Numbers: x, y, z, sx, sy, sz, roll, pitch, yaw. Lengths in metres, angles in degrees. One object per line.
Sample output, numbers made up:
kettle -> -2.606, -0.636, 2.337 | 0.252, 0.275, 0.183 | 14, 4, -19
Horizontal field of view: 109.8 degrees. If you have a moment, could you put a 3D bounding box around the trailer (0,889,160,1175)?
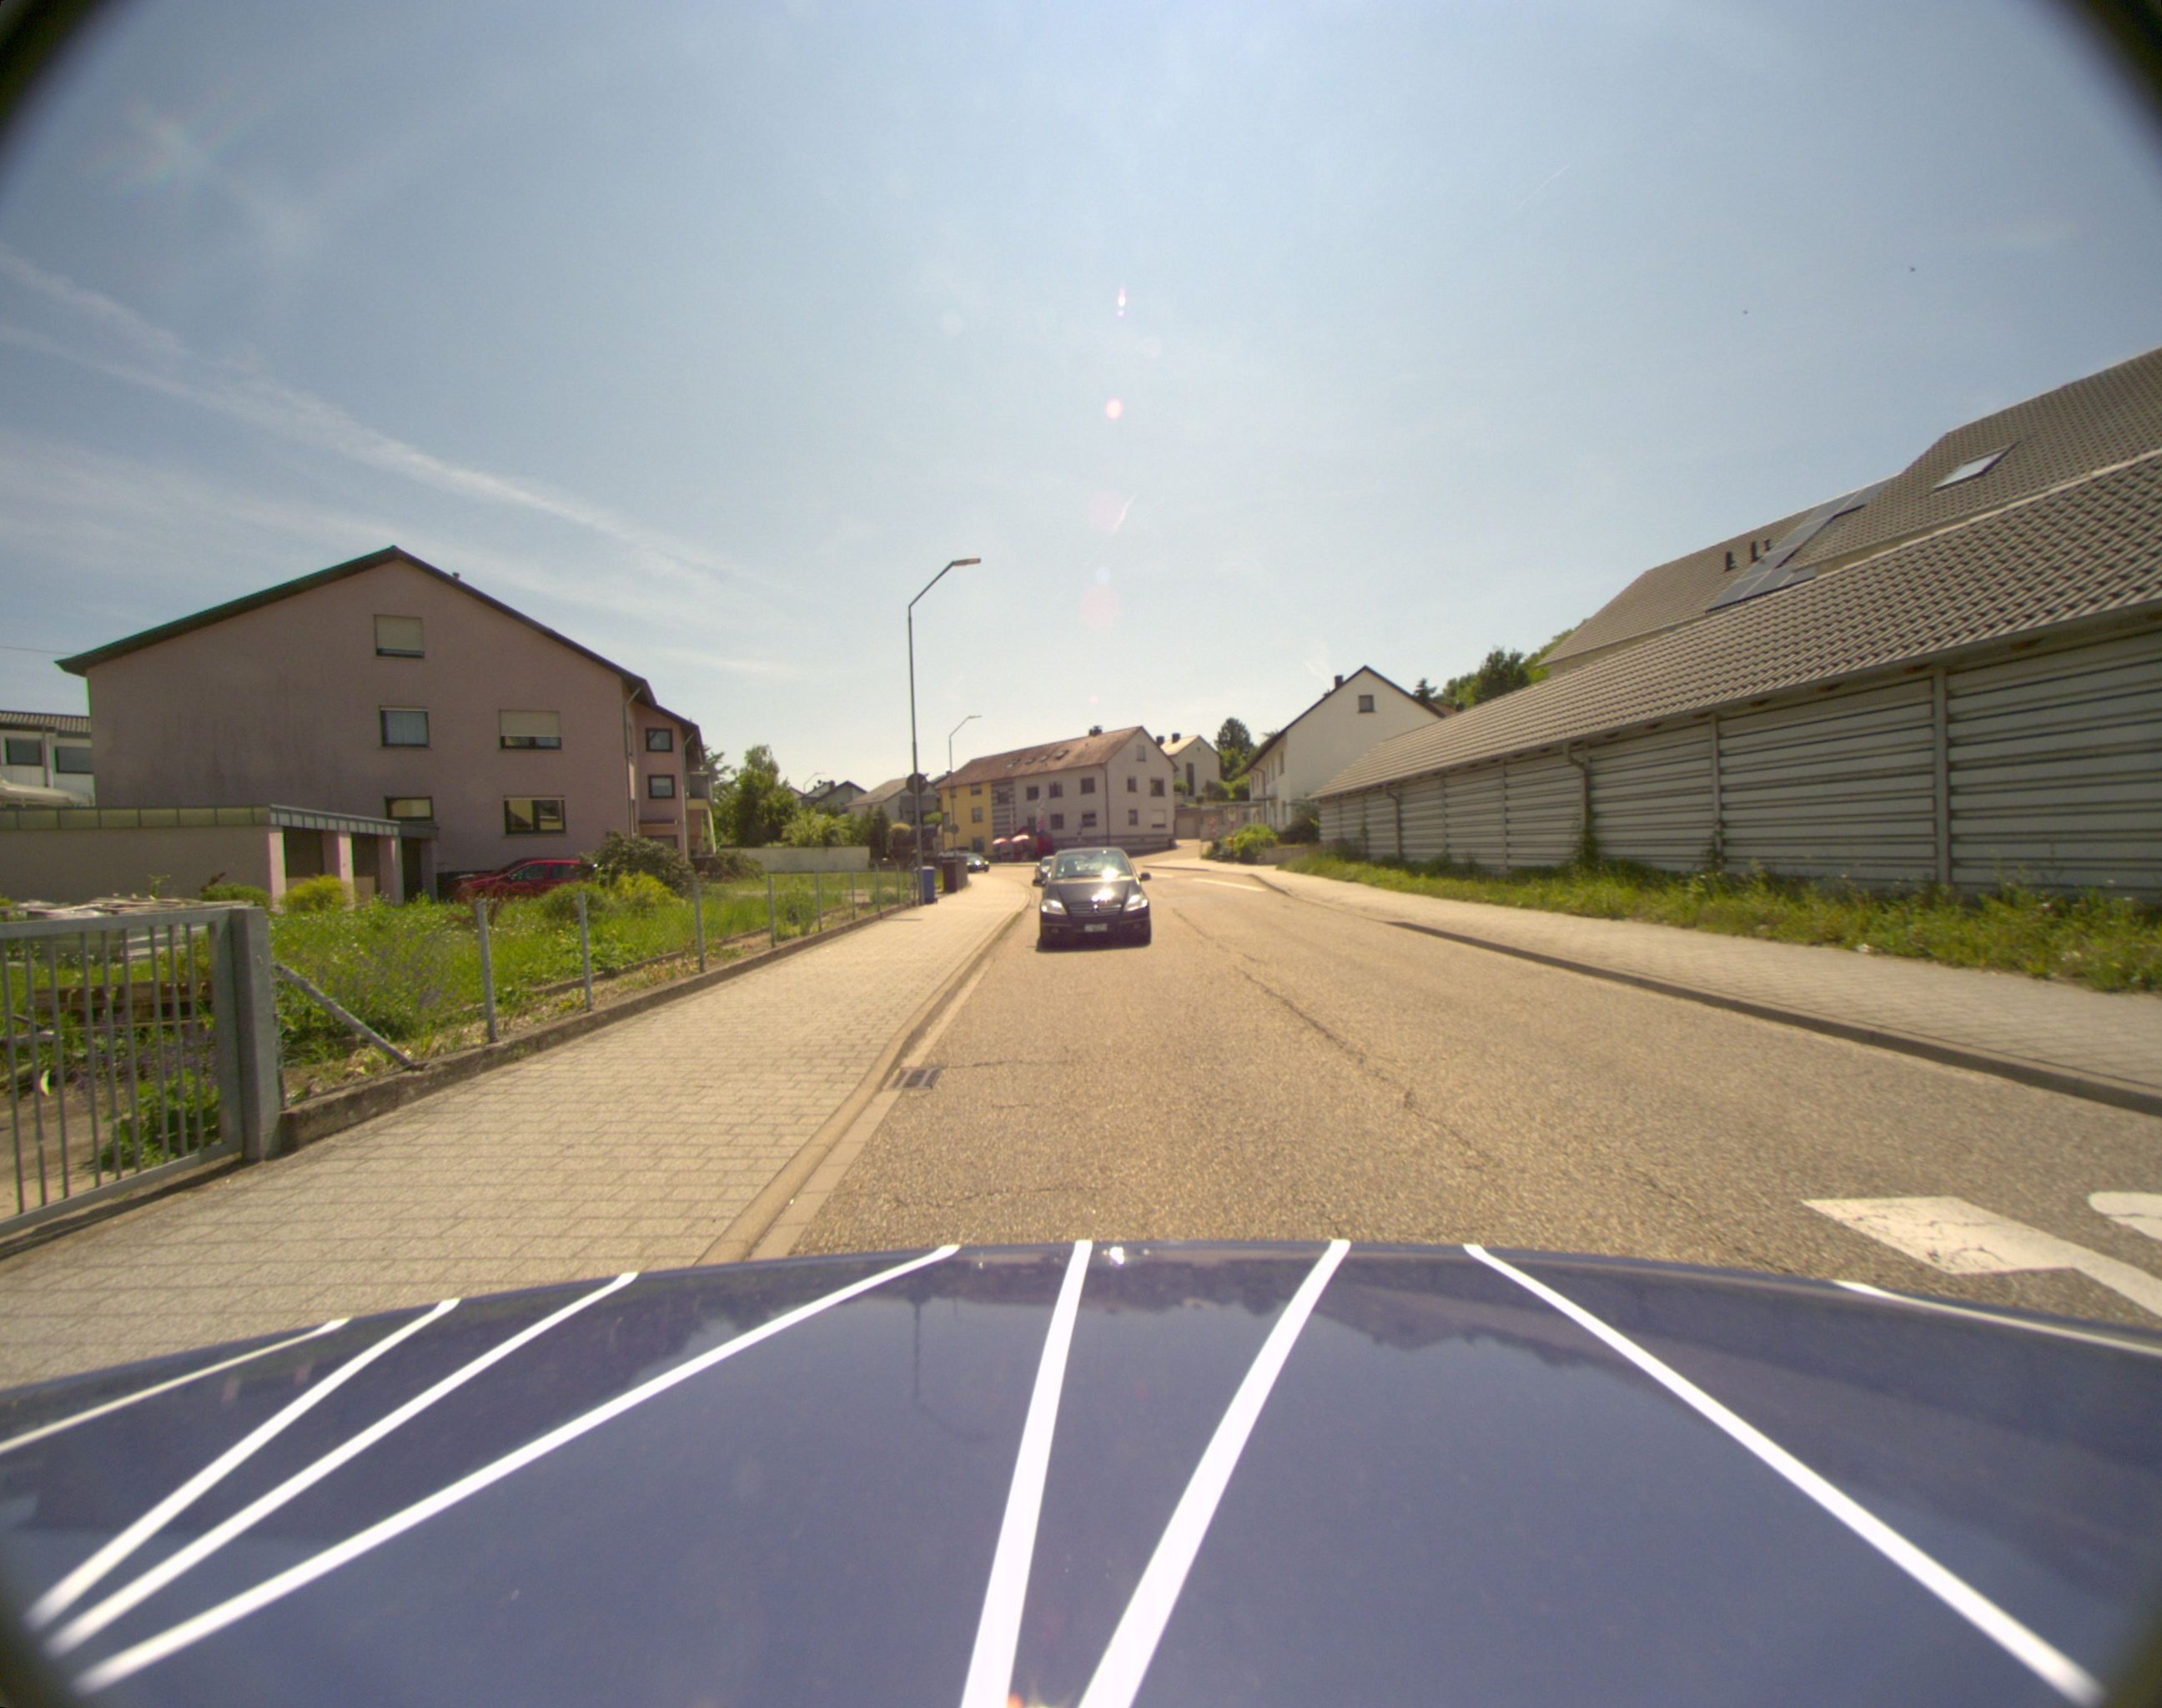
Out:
trailer -> -8.615, 1.180, 3.304 | 5.371, 1.537, 2.133 | -4, 2, -29

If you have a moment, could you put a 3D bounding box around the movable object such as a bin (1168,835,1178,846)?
movable object such as a bin -> 7.868, -1.180, 65.022 | 0.599, 0.929, 0.601 | -1, 2, 44

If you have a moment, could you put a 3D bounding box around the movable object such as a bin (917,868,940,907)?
movable object such as a bin -> -4.380, 0.946, 21.819 | 0.567, 1.051, 0.650 | -3, 2, -16

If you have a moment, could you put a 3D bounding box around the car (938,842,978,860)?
car -> -12.136, -0.280, 75.050 | 1.739, 1.543, 4.177 | -5, 2, -44

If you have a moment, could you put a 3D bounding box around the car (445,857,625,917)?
car -> -15.436, 0.888, 21.747 | 3.842, 1.477, 1.758 | -2, 1, -24

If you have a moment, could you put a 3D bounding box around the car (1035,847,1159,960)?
car -> 0.144, 0.734, 13.603 | 1.765, 1.583, 4.196 | -4, 1, -3

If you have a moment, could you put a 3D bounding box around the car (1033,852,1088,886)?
car -> -0.994, 0.629, 34.111 | 1.815, 1.307, 3.996 | -3, 1, -10

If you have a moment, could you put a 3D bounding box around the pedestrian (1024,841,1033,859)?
pedestrian -> -4.665, -0.335, 67.274 | 0.613, 1.578, 0.808 | -5, 1, -11

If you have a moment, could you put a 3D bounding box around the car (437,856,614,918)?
car -> -17.135, 0.959, 23.729 | 4.130, 1.539, 1.847 | -4, 2, -27

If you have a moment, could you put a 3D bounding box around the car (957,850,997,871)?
car -> -7.550, 0.481, 54.756 | 1.900, 1.368, 3.993 | -4, 1, -21
